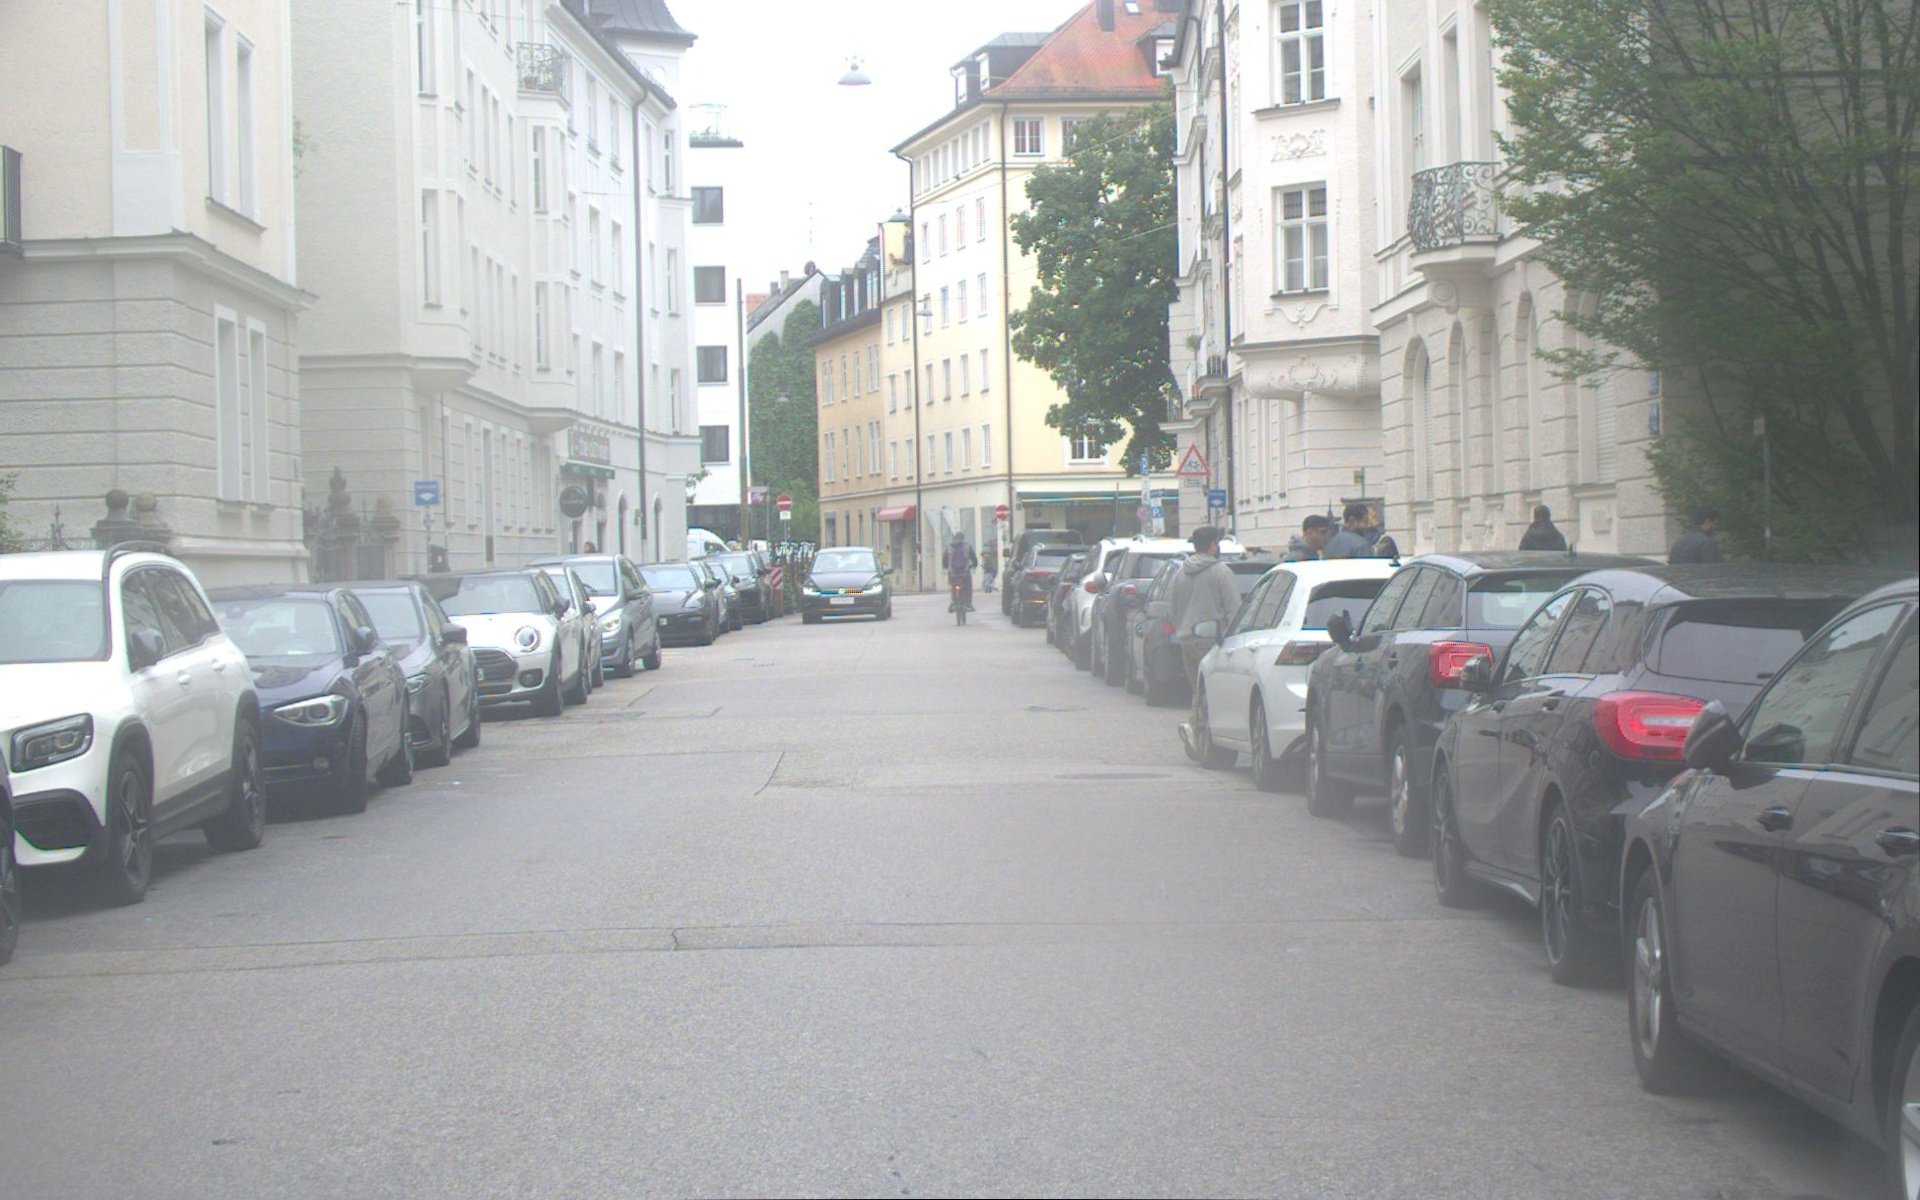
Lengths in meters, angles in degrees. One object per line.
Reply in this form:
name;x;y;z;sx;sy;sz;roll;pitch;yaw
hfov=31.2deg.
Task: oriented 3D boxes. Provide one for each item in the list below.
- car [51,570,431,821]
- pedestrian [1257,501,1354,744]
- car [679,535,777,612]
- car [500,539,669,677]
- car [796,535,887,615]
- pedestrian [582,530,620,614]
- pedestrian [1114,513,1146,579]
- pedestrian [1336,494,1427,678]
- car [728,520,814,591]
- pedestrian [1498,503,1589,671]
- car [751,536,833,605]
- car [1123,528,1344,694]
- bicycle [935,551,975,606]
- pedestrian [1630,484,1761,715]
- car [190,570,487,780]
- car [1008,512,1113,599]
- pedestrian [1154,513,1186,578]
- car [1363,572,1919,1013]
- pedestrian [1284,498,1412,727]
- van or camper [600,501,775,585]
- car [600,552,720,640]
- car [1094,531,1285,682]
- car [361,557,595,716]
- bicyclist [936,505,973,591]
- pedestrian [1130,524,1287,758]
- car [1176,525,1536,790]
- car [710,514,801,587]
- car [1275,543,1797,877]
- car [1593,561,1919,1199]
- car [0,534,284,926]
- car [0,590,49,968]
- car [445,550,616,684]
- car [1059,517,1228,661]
car;-4.484;0.534;21.987;1.768;1.415;4.001;-1;1;-3
pedestrian;2.552;0.158;25.450;0.628;1.763;0.672;-1;1;2
car;-4.616;-0.550;68.335;1.810;1.380;4.444;-3;1;-4
car;-4.867;0.065;44.996;1.696;1.575;4.062;-4;2;0
car;-2.481;-0.552;73.039;1.724;1.528;4.086;-4;1;0
pedestrian;-7.372;-0.586;70.578;0.697;1.701;0.665;-1;1;-3
pedestrian;4.484;-1.429;90.650;0.703;1.722;0.703;-3;1;-3
pedestrian;4.198;-0.153;34.277;0.682;1.769;0.855;-4;2;0
car;-4.919;-1.183;89.838;1.843;1.751;4.000;-2;1;2
pedestrian;6.021;-0.142;35.485;0.682;1.673;0.812;-4;2;-1
car;-4.616;-0.837;94.814;1.878;1.777;4.000;-2;1;2
car;2.578;0.055;33.201;1.711;1.447;4.225;-1;2;-1
bicycle;-0.090;-0.412;65.492;0.639;1.001;1.574;-2;1;4
pedestrian;5.860;-0.013;27.427;0.859;1.811;0.679;-1;1;-1
car;-4.780;0.522;26.949;1.734;1.360;4.194;-3;1;-3
car;1.858;-0.855;64.551;1.707;1.582;4.001;0;1;-2
pedestrian;5.554;-1.445;90.972;0.679;1.668;0.654;-4;1;-3
car;2.637;0.605;12.966;1.742;1.393;4.022;1;0;0
pedestrian;3.048;0.090;27.071;0.882;1.763;0.672;-1;1;-1
van or camper;-9.488;-1.974;119.531;5.903;2.668;1.873;-2;-1;-8
car;-5.099;-0.100;58.903;1.849;1.362;4.703;-2;1;-3
car;2.451;0.023;37.592;1.748;1.519;4.170;-1;1;0
car;-4.721;0.315;34.170;1.797;1.430;4.080;-1;1;-1
bicyclist;-0.110;-0.996;65.516;0.606;1.601;0.757;-2;1;4
pedestrian;1.797;0.286;24.937;0.850;1.652;0.867;-1;1;-17
car;2.490;0.300;22.522;1.662;1.502;4.065;-1;2;-3
car;-4.364;-1.082;73.961;1.741;1.481;4.181;-2;1;-1
car;2.904;0.486;18.225;1.791;1.493;4.083;1;2;-4
car;2.644;0.633;7.861;1.641;1.413;4.000;-1;1;0
car;-4.661;0.549;16.937;1.806;1.642;4.486;-3;1;-1
car;-4.483;0.772;11.872;1.642;1.425;3.920;-5;1;-2
car;-5.033;0.160;40.664;1.644;1.398;4.001;-4;1;-3
car;2.268;-0.187;43.486;1.895;1.630;4.392;-2;2;0
